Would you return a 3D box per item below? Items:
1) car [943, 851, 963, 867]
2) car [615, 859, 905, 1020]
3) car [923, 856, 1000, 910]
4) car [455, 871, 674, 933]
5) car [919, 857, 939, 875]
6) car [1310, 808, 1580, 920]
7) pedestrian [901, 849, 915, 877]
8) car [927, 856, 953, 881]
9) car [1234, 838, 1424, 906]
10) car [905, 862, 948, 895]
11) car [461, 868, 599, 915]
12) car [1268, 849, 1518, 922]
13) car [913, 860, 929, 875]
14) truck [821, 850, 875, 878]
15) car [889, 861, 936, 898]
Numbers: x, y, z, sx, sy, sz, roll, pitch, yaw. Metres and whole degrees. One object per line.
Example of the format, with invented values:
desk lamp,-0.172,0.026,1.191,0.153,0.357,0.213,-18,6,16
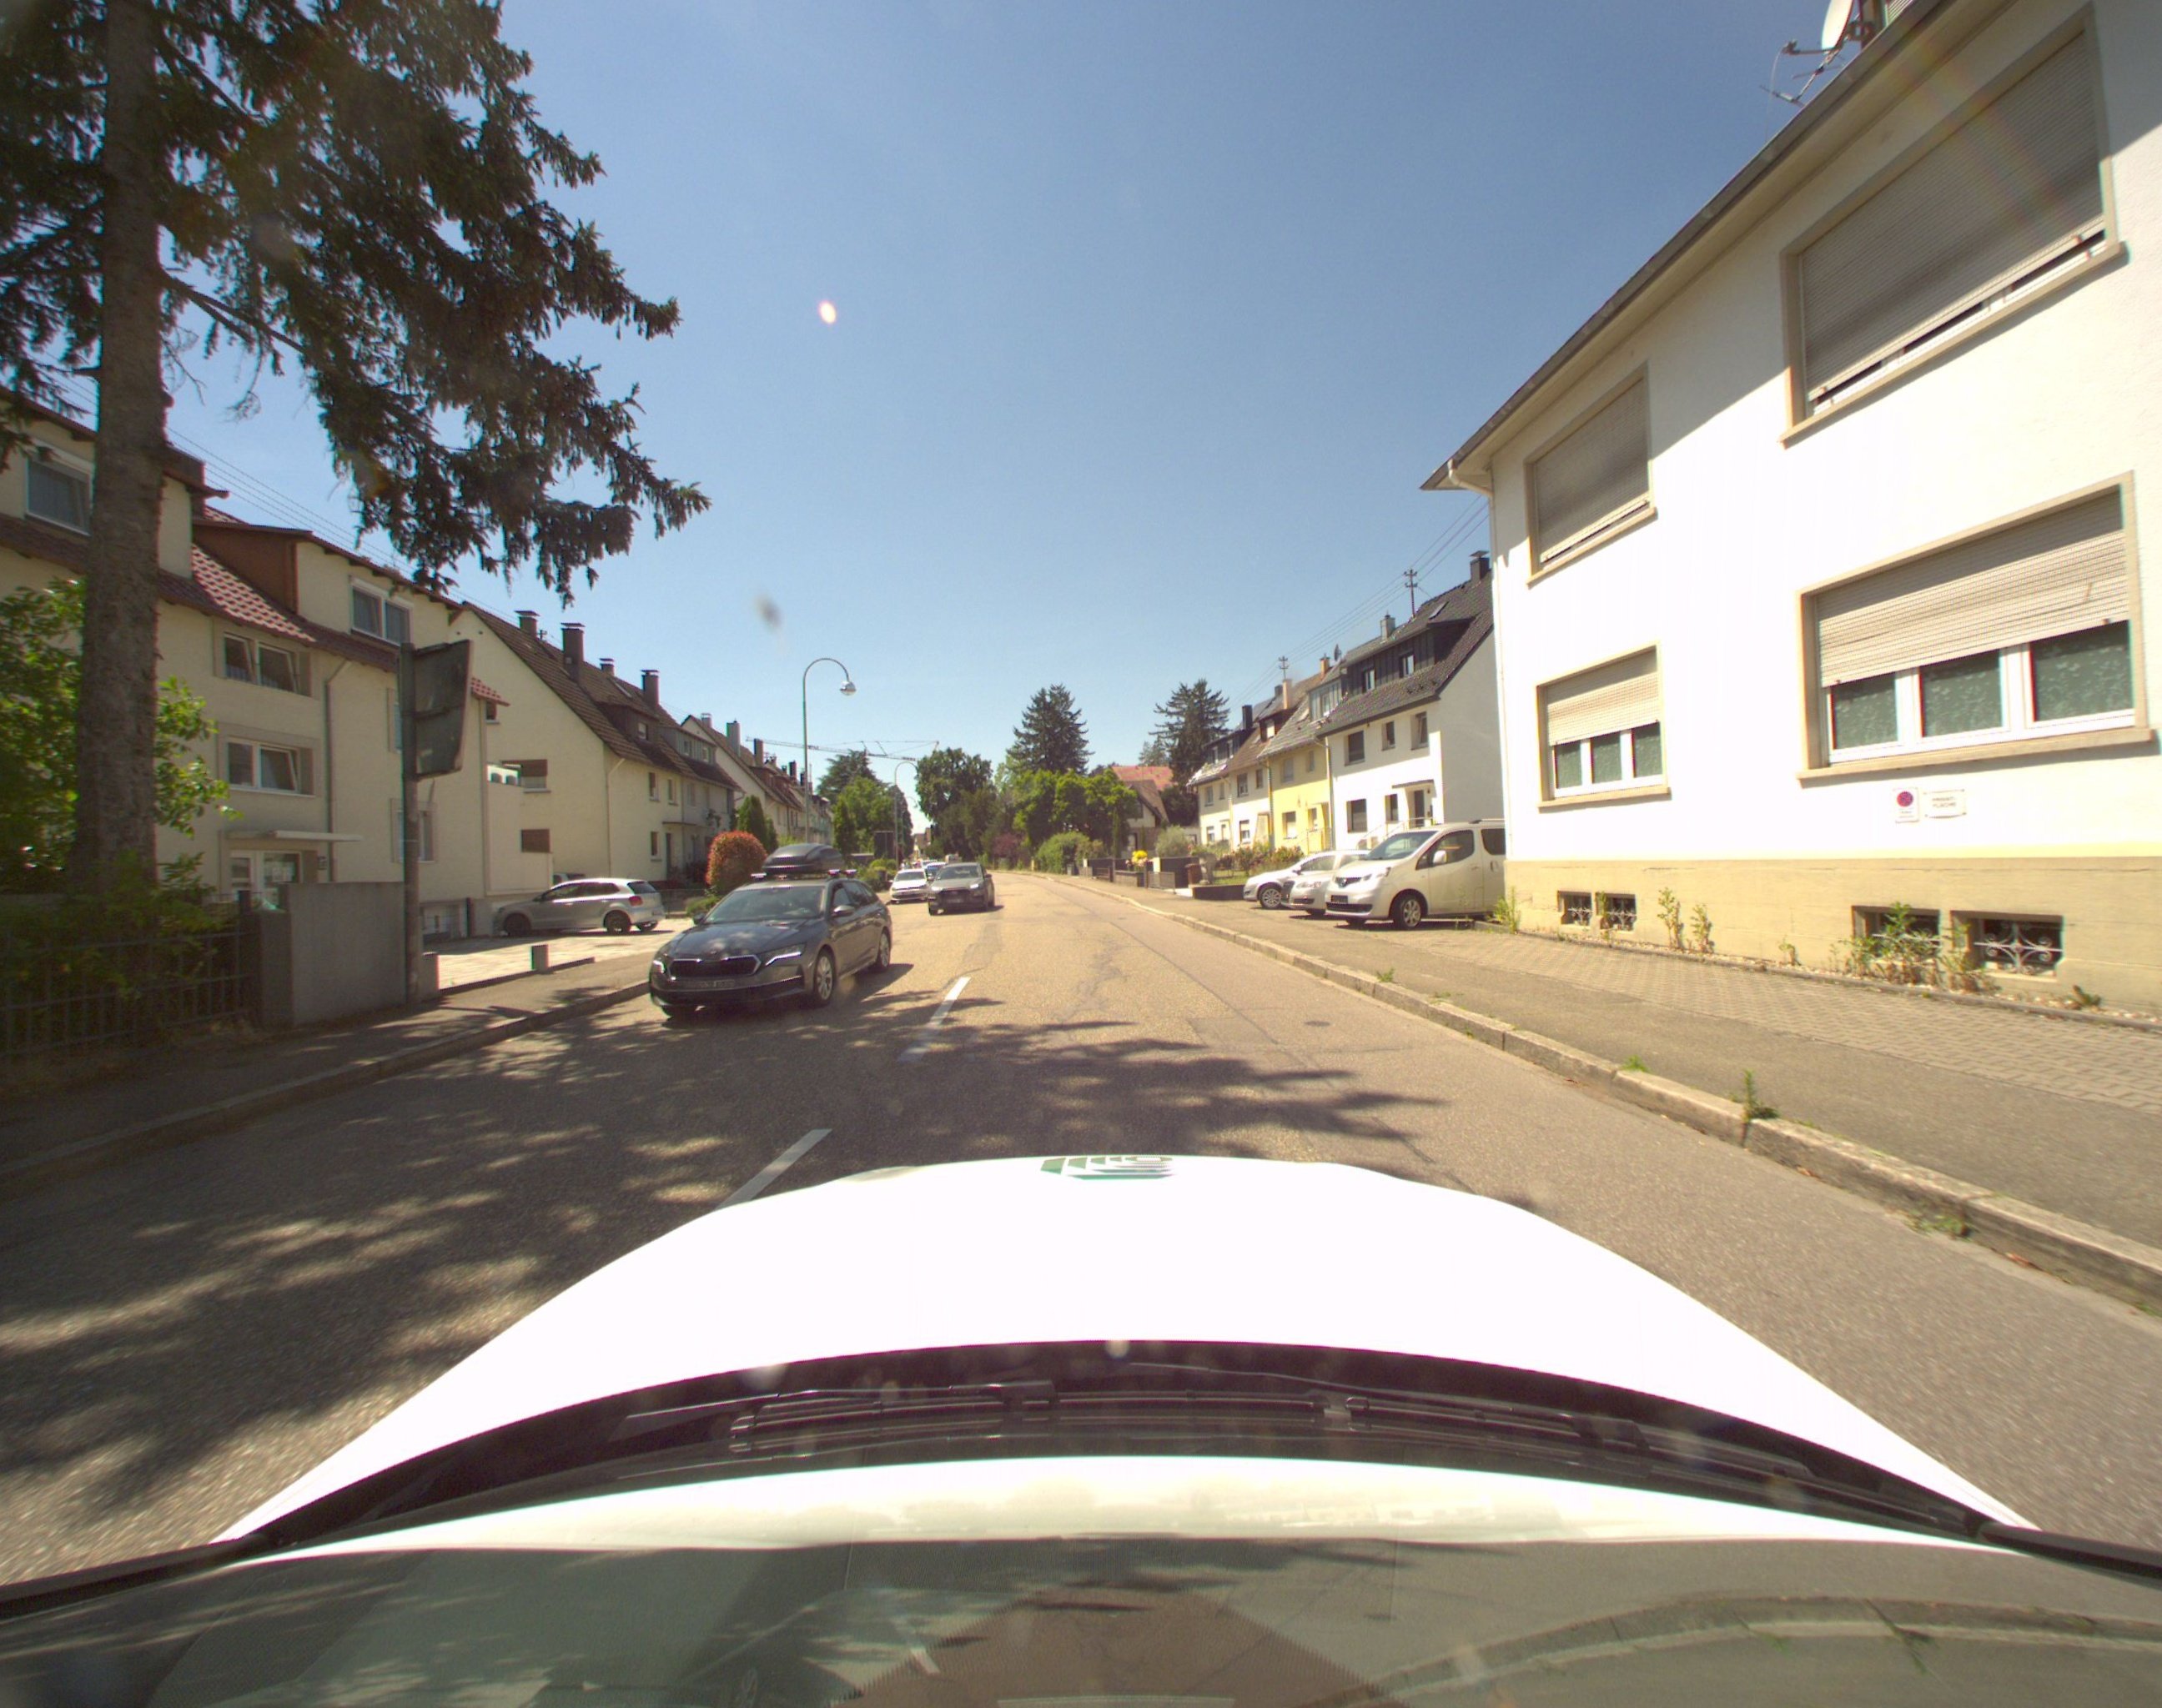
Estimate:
car,-19.973,0.791,126.954,2.150,2.315,4.823,-4,0,-18
car,-3.712,0.877,10.412,1.799,1.488,4.388,-4,0,1
car,-3.766,0.867,26.309,1.735,1.505,4.142,-4,0,0
car,-13.339,1.217,21.254,4.456,1.441,1.846,-1,-1,-2
car,-17.396,1.374,93.259,1.889,1.881,4.956,-3,0,-14
car,6.513,0.200,14.686,4.295,1.831,1.731,1,-1,-13
pedestrian,-11.911,0.639,56.211,0.688,1.890,1.017,3,-2,-3
car,-10.592,1.063,61.282,1.722,1.736,3.875,-4,0,-9
car,6.126,0.433,20.201,4.250,1.548,1.766,0,-2,27
car,-7.931,1.223,42.240,1.767,1.438,4.352,-4,0,-6
car,-20.059,1.324,29.762,3.782,1.536,1.643,-1,0,-8
car,6.471,0.642,17.170,4.630,1.409,1.766,1,0,-4
car,-20.889,1.736,106.222,1.651,1.752,4.332,-3,0,-15
truck,-17.853,0.776,62.526,3.769,1.937,1.541,-3,0,-10
car,-7.459,1.106,36.376,1.577,1.423,3.932,-4,0,-6
